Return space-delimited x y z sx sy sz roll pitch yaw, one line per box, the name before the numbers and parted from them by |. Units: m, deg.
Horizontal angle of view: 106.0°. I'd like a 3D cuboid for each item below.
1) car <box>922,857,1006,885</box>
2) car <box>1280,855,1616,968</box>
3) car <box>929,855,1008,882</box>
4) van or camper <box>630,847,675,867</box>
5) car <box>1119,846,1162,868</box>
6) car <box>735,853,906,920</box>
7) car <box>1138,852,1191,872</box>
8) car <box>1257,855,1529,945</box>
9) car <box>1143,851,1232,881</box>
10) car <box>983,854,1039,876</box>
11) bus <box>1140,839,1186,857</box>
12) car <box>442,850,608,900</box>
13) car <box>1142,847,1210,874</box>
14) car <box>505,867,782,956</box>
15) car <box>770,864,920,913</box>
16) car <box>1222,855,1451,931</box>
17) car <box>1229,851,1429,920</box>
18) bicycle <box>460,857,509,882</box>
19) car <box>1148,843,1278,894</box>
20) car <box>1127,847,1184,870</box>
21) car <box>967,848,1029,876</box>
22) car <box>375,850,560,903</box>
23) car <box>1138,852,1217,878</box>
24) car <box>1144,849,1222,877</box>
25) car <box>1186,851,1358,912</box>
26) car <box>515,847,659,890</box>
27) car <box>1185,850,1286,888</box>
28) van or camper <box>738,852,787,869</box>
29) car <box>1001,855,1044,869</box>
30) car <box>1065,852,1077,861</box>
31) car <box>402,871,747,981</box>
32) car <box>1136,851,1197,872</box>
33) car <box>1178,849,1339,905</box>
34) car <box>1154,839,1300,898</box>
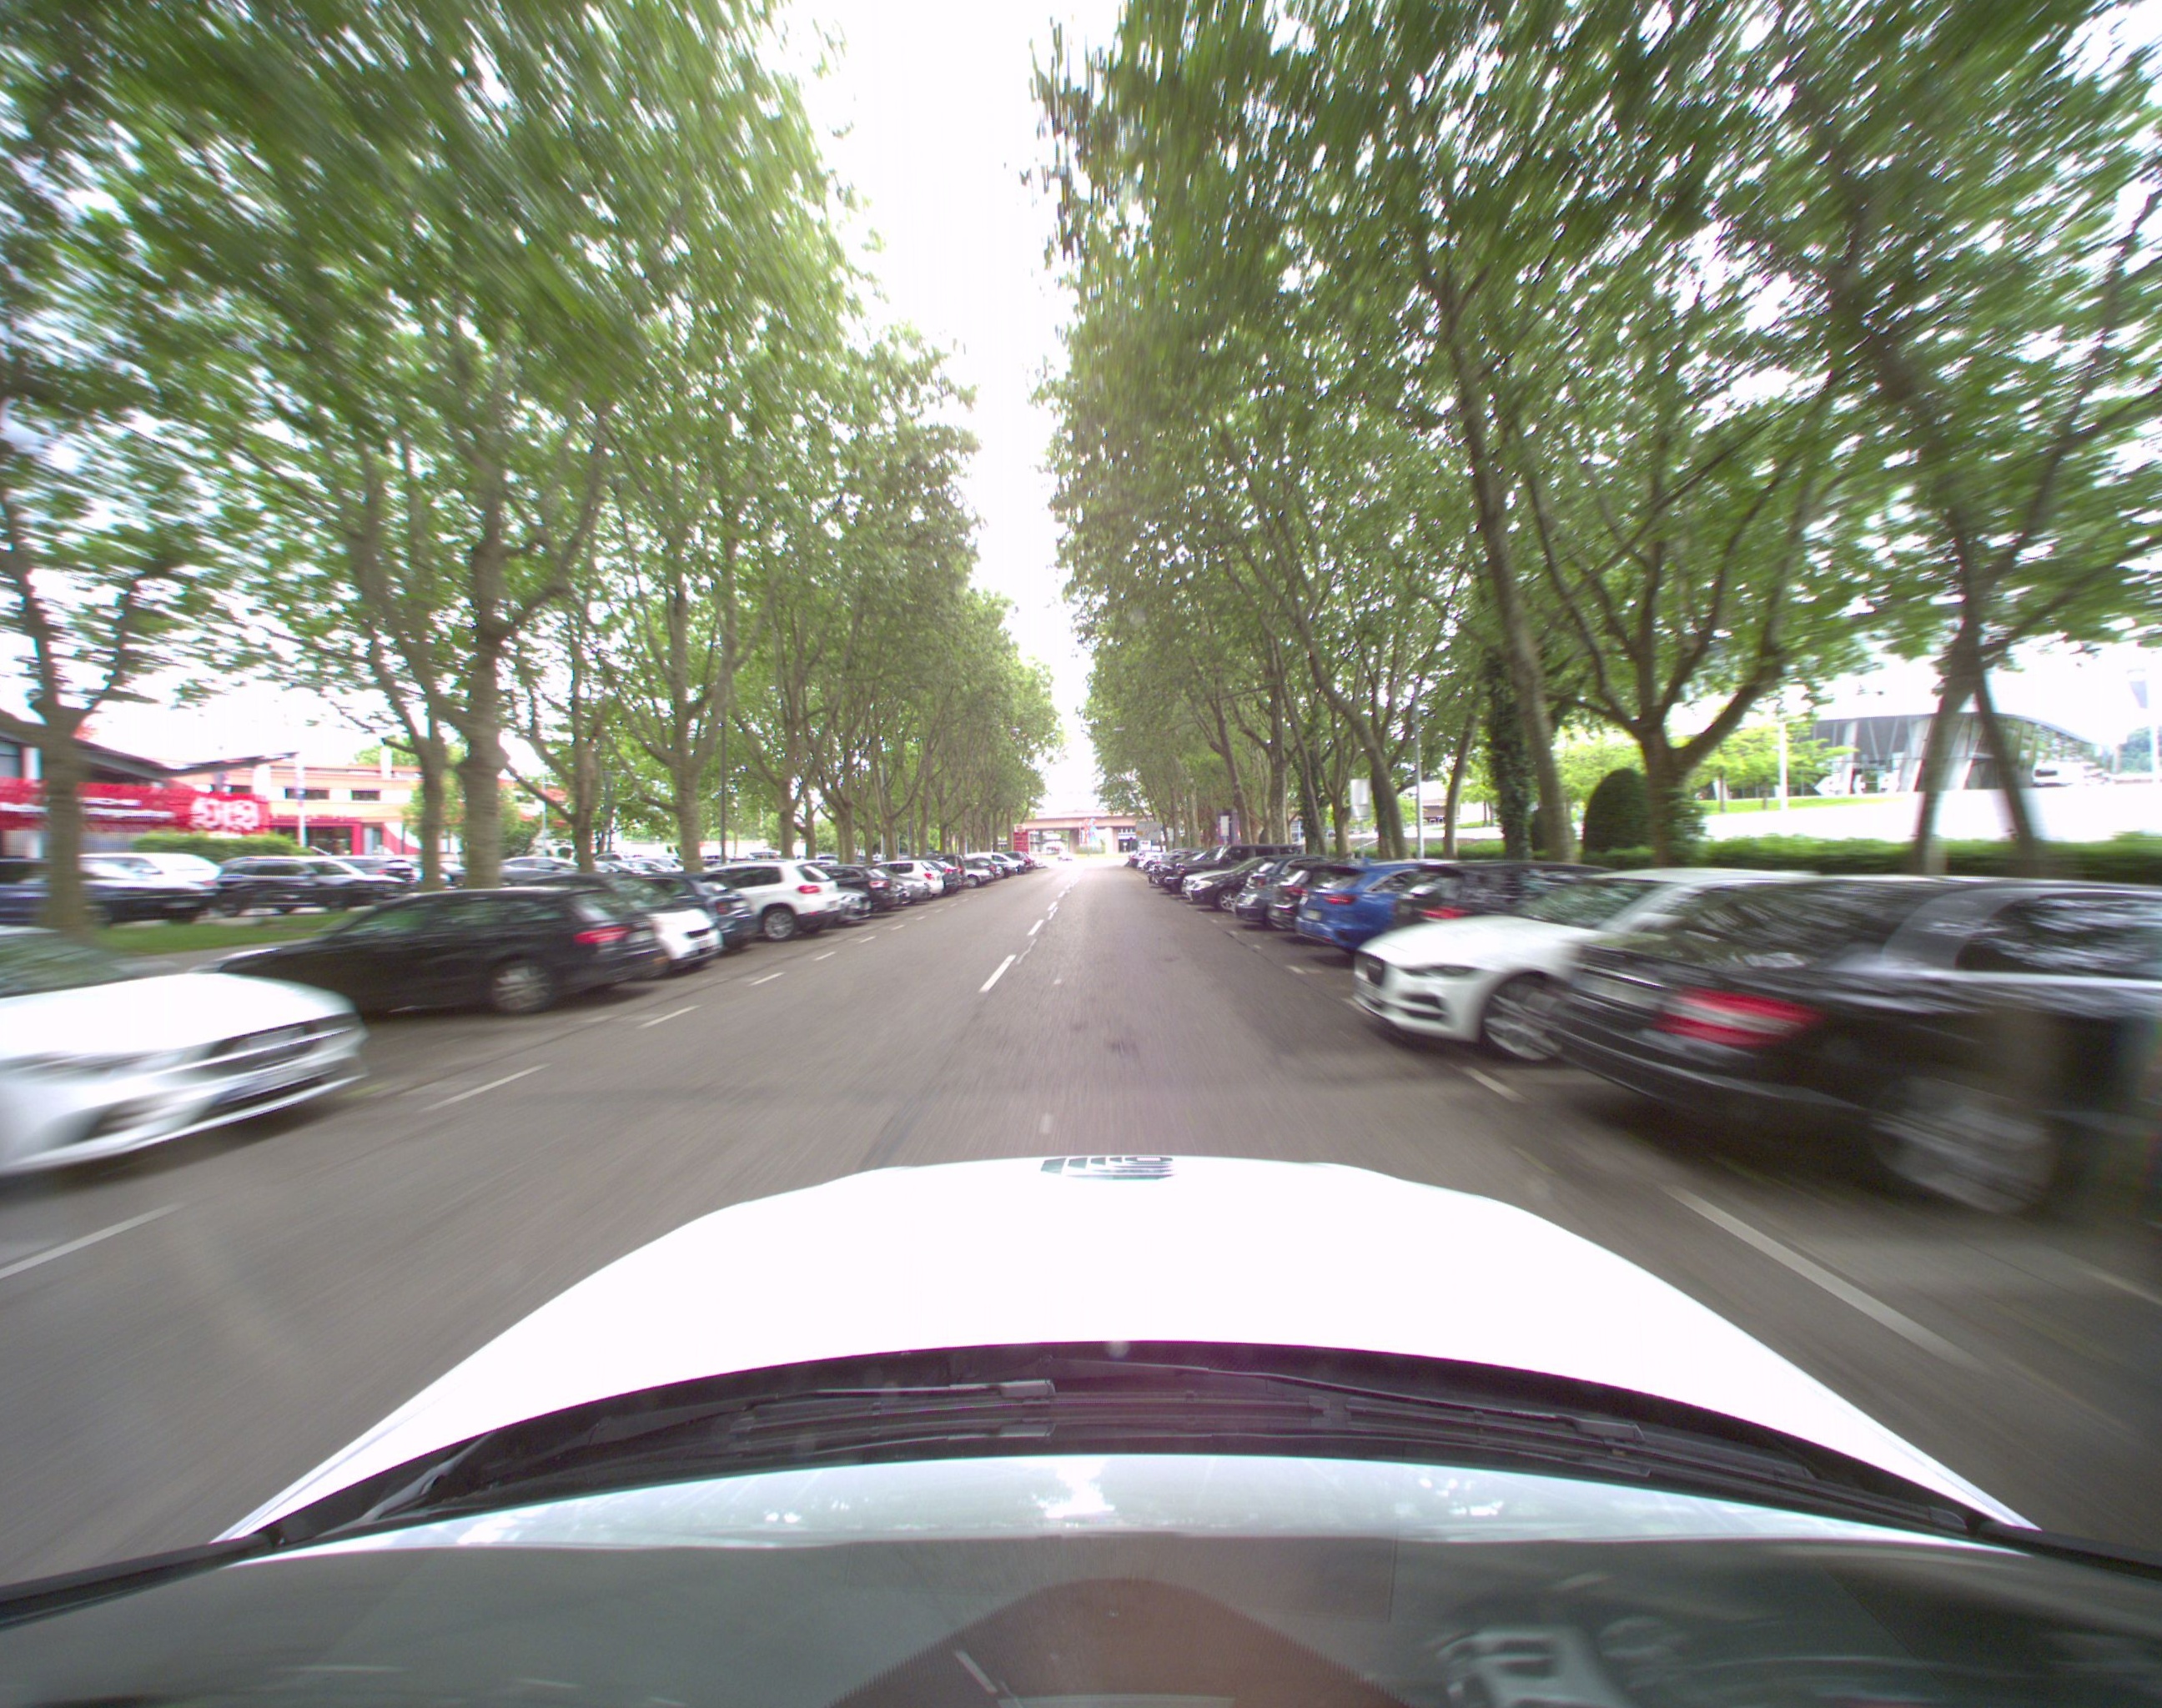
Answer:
car | -6.773 0.993 47.425 4.445 1.347 1.903 -3 0 2
car | 5.121 0.754 11.713 4.008 1.447 1.911 0 1 -5
car | -6.832 0.868 49.620 4.448 1.369 1.880 -3 0 0
van or camper | -45.072 0.311 85.802 1.987 2.014 5.302 0 0 0
car | 5.581 0.255 76.407 3.972 2.013 2.001 0 1 1
car | -6.926 0.845 21.956 3.971 1.682 1.856 0 0 2
car | 6.062 0.571 59.501 3.630 1.427 1.664 0 1 -2
car | 5.415 0.770 14.488 4.185 1.456 1.784 0 1 -3
car | 5.543 0.603 42.647 4.339 1.502 1.922 0 1 -5
car | -5.552 0.887 64.664 4.112 1.452 2.015 -4 0 3
bus | 15.686 -1.179 155.434 10.072 3.398 2.312 -1 0 -41
car | -21.788 0.784 32.096 4.928 1.797 2.182 -1 0 -2
car | 6.289 0.449 54.323 4.333 1.745 1.836 0 1 -1
car | -7.736 0.985 14.684 3.971 1.453 1.856 0 0 2
car | -7.085 1.022 24.747 3.975 1.369 1.843 0 0 -1
car | 5.174 0.777 16.862 4.185 1.456 1.784 0 1 -3
car | 5.763 0.712 19.222 4.185 1.518 1.784 0 1 -3
bicycle | -38.610 0.980 52.795 1.045 1.540 2.802 0 0 1
car | 4.790 0.490 29.959 4.480 1.796 2.048 0 1 0
car | 5.876 0.374 64.525 4.333 1.761 1.925 0 0 -1
car | -6.041 0.581 59.711 4.307 1.810 1.866 -3 0 -3
car | -21.976 0.799 29.329 4.928 1.797 2.182 0 0 -2
car | 5.408 0.618 46.153 4.330 1.413 1.926 0 1 1
car | 6.102 0.501 49.332 4.572 1.639 1.874 0 1 3
car | 5.011 0.706 21.757 4.181 1.518 1.785 1 0 0
car | -21.666 0.630 35.875 4.928 1.797 2.182 0 0 -2
car | 7.534 0.699 40.018 4.488 1.796 2.044 0 1 -6
van or camper | -33.031 0.629 84.550 4.307 1.709 2.131 0 0 0
car | -5.720 0.770 79.867 3.975 1.385 1.914 0 0 4
car | -1.669 0.394 135.259 1.836 1.510 4.014 0 0 0
car | -7.361 1.013 12.131 3.971 1.453 1.856 0 0 2
car | 5.949 0.528 56.861 4.133 1.458 1.727 0 0 1
car | 5.215 0.640 24.427 4.475 1.572 2.050 0 1 4
car | 4.766 0.459 27.044 4.484 1.866 2.046 0 1 -3
